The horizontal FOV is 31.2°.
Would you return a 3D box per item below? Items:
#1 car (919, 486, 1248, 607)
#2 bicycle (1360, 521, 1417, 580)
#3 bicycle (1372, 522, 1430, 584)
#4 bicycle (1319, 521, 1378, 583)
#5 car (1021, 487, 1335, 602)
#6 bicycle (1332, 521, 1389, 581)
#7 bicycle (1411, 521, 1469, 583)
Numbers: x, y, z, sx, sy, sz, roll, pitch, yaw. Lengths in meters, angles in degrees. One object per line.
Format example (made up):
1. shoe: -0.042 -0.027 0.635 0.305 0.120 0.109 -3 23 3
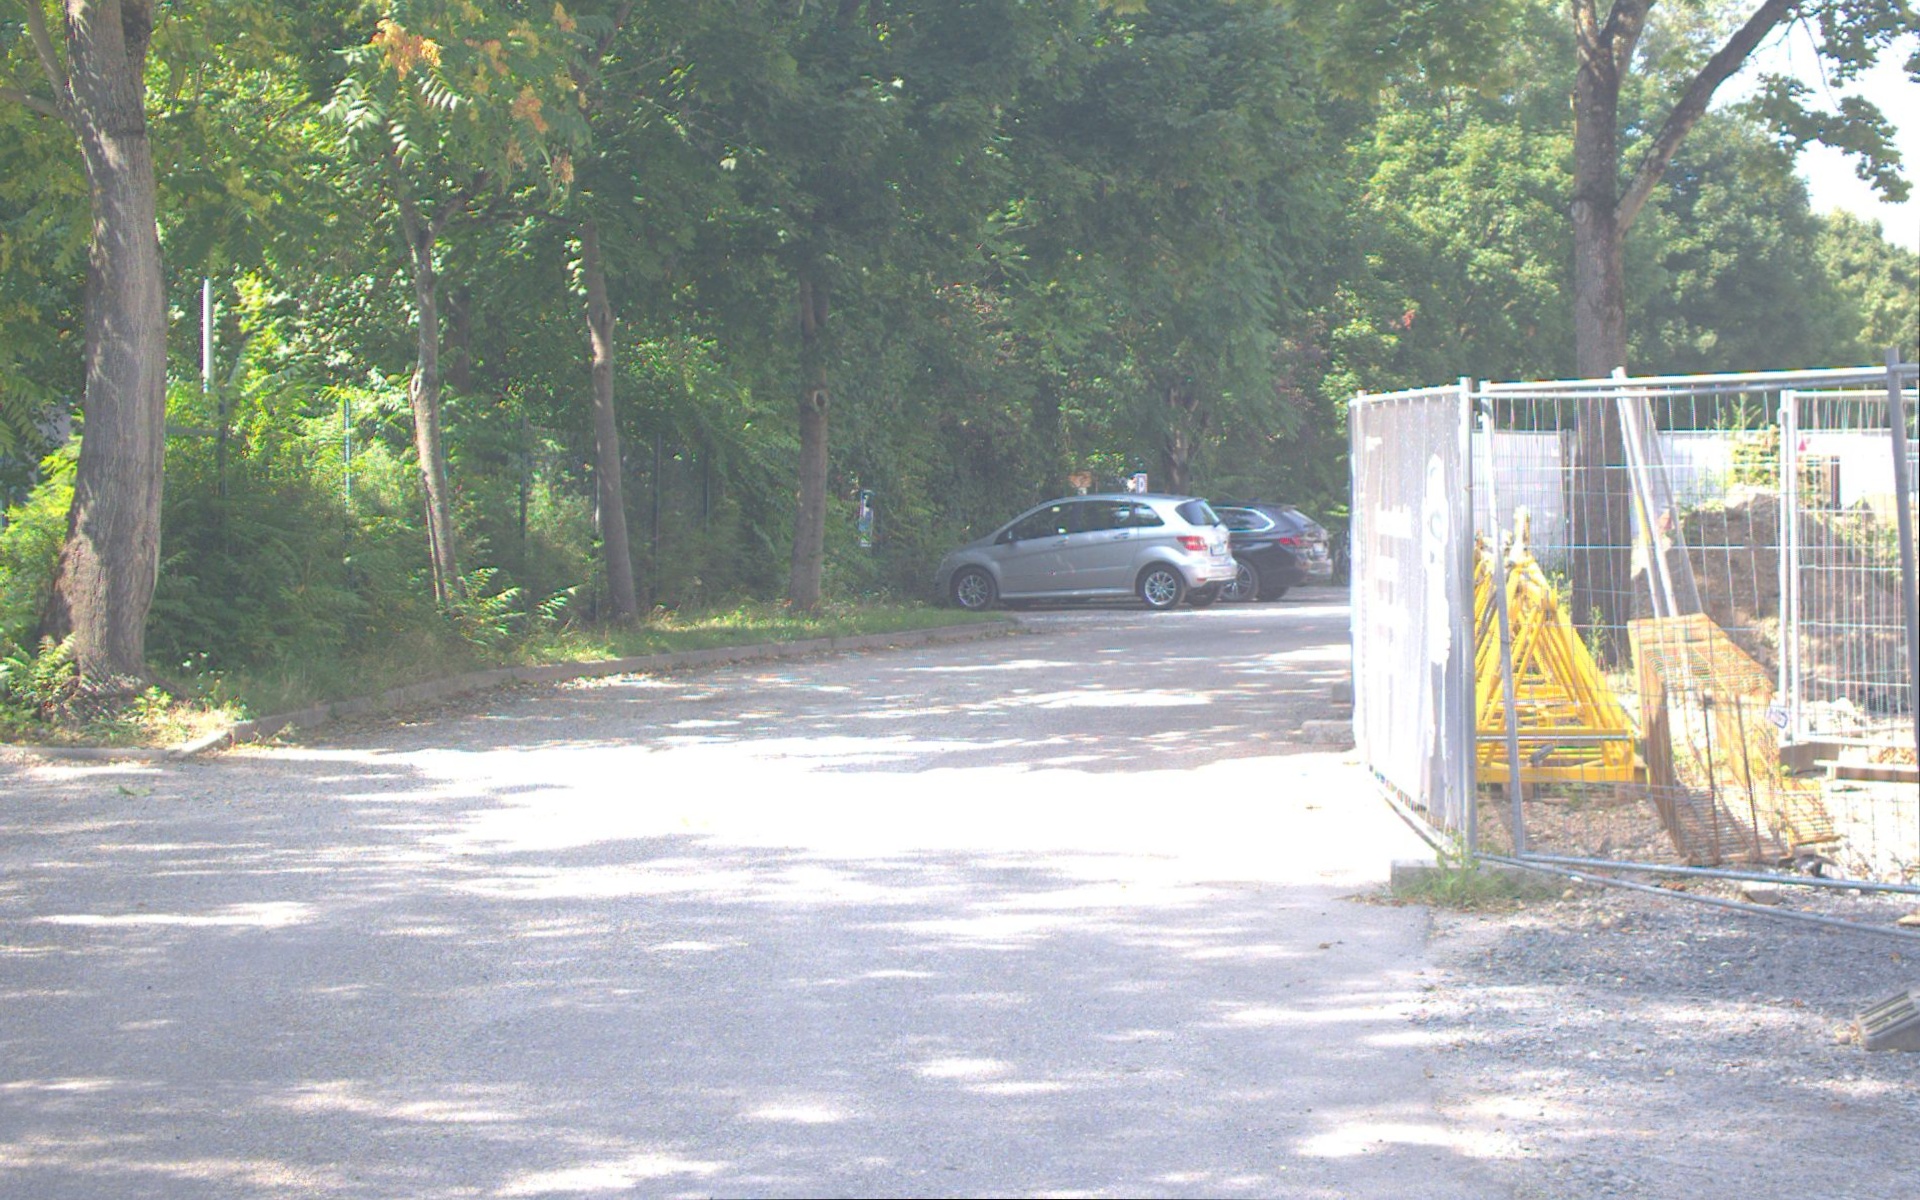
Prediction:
1. car: 1.730 -0.771 47.990 4.152 1.607 1.998 1 2 22
2. bicycle: 8.133 -0.943 65.201 0.499 1.104 1.798 1 2 26
3. bicycle: 8.117 -0.872 63.189 0.499 1.104 1.798 1 2 26
4. bicycle: 7.151 -0.889 63.293 0.499 1.104 1.798 1 2 26
5. car: 3.193 -0.840 50.271 4.152 1.607 1.998 1 2 22
6. bicycle: 7.625 -0.938 65.389 0.499 1.104 1.798 1 2 26
7. bicycle: 8.739 -0.878 62.551 0.499 1.104 1.798 1 2 26
